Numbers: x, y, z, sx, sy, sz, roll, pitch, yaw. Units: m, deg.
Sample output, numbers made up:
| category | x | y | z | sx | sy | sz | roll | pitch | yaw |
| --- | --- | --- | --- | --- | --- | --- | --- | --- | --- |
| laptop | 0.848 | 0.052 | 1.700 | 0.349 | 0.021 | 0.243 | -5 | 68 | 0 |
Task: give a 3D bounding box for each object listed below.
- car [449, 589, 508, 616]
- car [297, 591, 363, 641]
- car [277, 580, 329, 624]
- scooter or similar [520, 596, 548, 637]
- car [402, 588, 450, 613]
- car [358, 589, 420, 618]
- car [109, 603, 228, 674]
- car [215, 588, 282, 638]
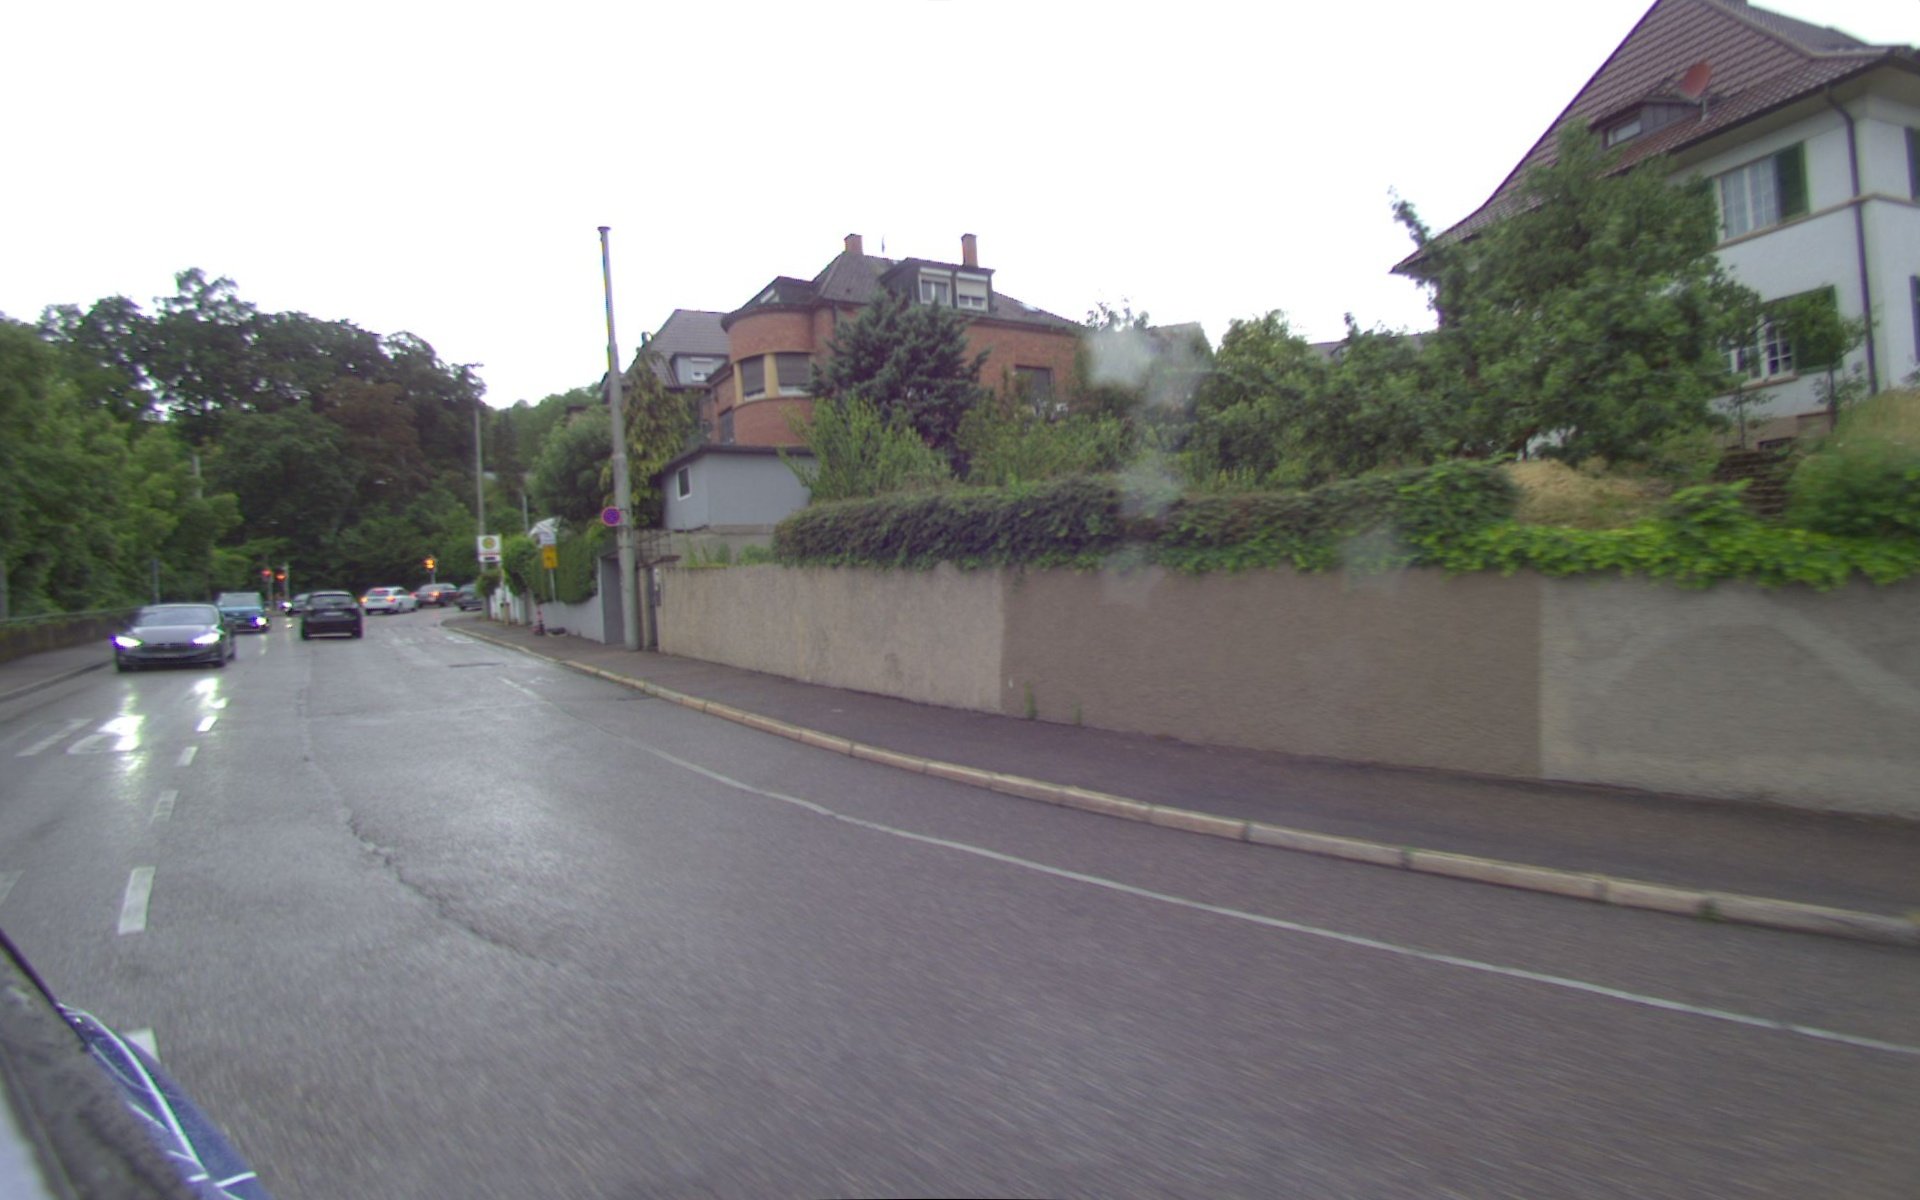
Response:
| category | x | y | z | sx | sy | sz | roll | pitch | yaw |
| --- | --- | --- | --- | --- | --- | --- | --- | --- | --- |
| car | -27.994 | 0.138 | 58.995 | 1.715 | 1.461 | 4.622 | -1 | 0 | -6 |
| car | -21.237 | 0.518 | 34.068 | 1.743 | 1.532 | 3.986 | -2 | 1 | -33 |
| car | -38.546 | 0.140 | 59.467 | 1.966 | 2.029 | 4.012 | -4 | -5 | -25 |
| scooter or similar | -12.755 | 0.478 | 30.279 | 0.515 | 1.213 | 1.439 | -1 | 0 | -32 |
| car | -33.765 | 0.011 | 63.928 | 1.835 | 1.405 | 4.605 | -4 | 4 | -38 |
| car | -32.215 | 0.171 | 57.262 | 1.823 | 1.485 | 4.452 | -1 | 1 | -12 |
| car | -18.058 | 0.799 | 23.270 | 1.806 | 1.402 | 4.336 | -2 | 1 | -34 |
| car | -27.703 | 0.536 | 39.504 | 1.772 | 1.622 | 4.053 | -4 | -1 | -31 |
